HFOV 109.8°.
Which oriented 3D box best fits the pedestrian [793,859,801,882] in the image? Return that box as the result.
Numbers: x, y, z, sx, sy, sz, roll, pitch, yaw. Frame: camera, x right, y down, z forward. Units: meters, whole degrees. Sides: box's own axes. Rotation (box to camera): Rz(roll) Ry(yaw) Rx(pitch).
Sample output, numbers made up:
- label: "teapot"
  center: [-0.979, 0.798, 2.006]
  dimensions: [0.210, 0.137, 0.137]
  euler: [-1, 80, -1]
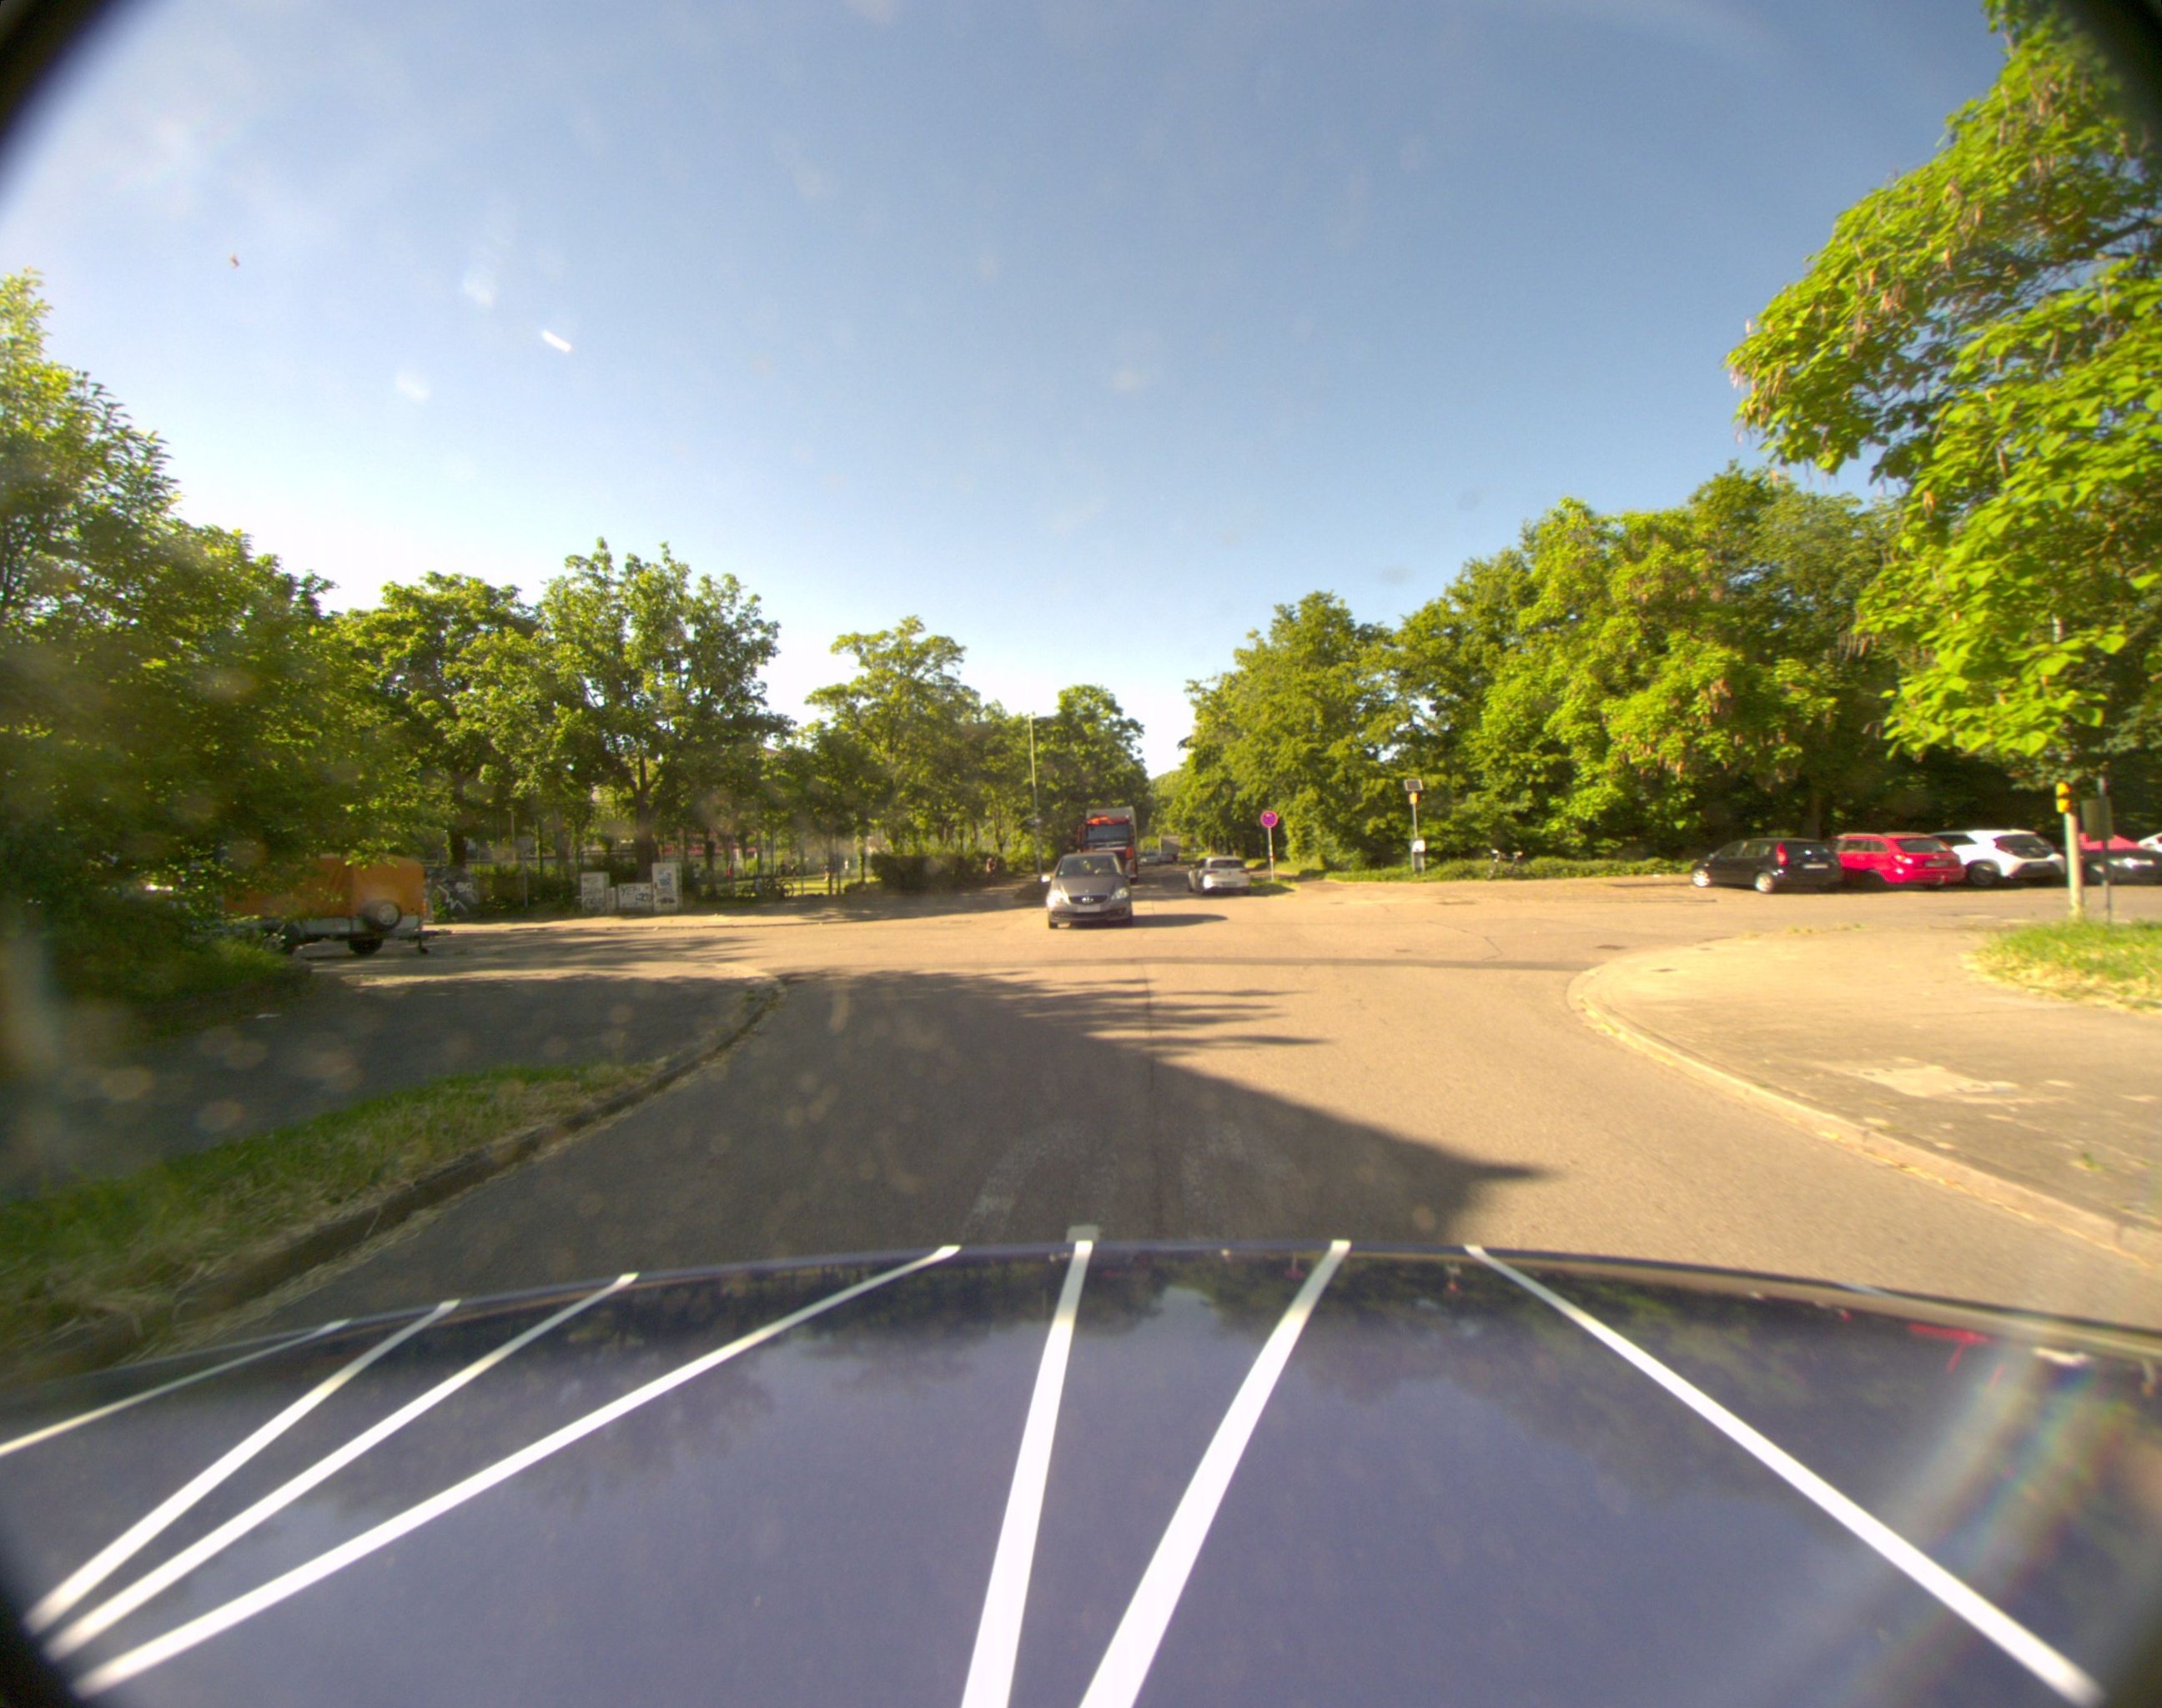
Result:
- label: "pedestrian"
  center: [-18.882, 1.085, 50.489]
  dimensions: [0.317, 1.527, 0.402]
  euler: [-2, 1, 1]

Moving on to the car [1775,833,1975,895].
- label: "car"
  center: [21.772, 0.201, 21.093]
  dimensions: [1.673, 1.479, 3.885]
  euler: [-2, 2, 5]

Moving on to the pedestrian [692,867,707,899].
- label: "pedestrian"
  center: [-18.599, 1.390, 37.030]
  dimensions: [0.437, 1.527, 0.429]
  euler: [-2, 1, 1]

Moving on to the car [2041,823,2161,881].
- label: "car"
  center: [30.357, -0.089, 21.470]
  dimensions: [1.673, 1.548, 3.885]
  euler: [-2, 2, 5]

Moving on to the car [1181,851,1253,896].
- label: "car"
  center: [5.026, 0.685, 28.595]
  dimensions: [1.666, 1.458, 4.186]
  euler: [-1, 2, -4]

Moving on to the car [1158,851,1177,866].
- label: "car"
  center: [9.932, 0.487, 87.255]
  dimensions: [1.998, 1.576, 4.001]
  euler: [-2, 0, 4]

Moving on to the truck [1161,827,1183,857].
- label: "truck"
  center: [12.578, -1.734, 105.726]
  dimensions: [2.802, 3.996, 9.628]
  euler: [0, 2, 6]

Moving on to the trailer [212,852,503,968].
- label: "trailer"
  center: [-14.348, 1.074, 15.227]
  dimensions: [4.070, 2.107, 1.979]
  euler: [-1, 0, 5]

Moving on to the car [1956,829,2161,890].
- label: "car"
  center: [27.234, 0.079, 21.050]
  dimensions: [1.673, 1.479, 3.885]
  euler: [-2, 2, 5]

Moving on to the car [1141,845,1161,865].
- label: "car"
  center: [6.865, 0.051, 74.432]
  dimensions: [1.844, 1.795, 4.030]
  euler: [-2, 0, 5]

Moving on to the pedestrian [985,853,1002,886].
- label: "pedestrian"
  center: [-4.362, 0.761, 38.035]
  dimensions: [0.641, 1.629, 0.641]
  euler: [-2, 1, 8]

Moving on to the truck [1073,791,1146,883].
- label: "truck"
  center: [1.818, -0.864, 42.018]
  dimensions: [3.165, 4.319, 10.587]
  euler: [-2, 0, 6]

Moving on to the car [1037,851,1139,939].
- label: "car"
  center: [0.277, 0.780, 16.380]
  dimensions: [1.854, 1.635, 3.757]
  euler: [-2, 0, 5]

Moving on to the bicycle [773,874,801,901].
- label: "bicycle"
  center: [-11.085, 1.242, 28.627]
  dimensions: [0.909, 0.953, 0.294]
  euler: [-2, 1, -43]

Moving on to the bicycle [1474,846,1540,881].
- label: "bicycle"
  center: [14.876, 0.333, 26.585]
  dimensions: [1.902, 1.146, 0.761]
  euler: [-2, 4, 15]

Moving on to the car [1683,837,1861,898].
- label: "car"
  center: [19.205, 0.309, 21.365]
  dimensions: [1.673, 1.479, 3.885]
  euler: [-2, 2, 5]

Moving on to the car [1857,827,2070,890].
- label: "car"
  center: [24.657, 0.058, 21.473]
  dimensions: [1.673, 1.594, 3.885]
  euler: [-2, 2, 5]

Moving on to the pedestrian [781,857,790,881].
- label: "pedestrian"
  center: [-18.542, 0.943, 47.669]
  dimensions: [0.320, 1.527, 0.393]
  euler: [-2, 1, 1]
